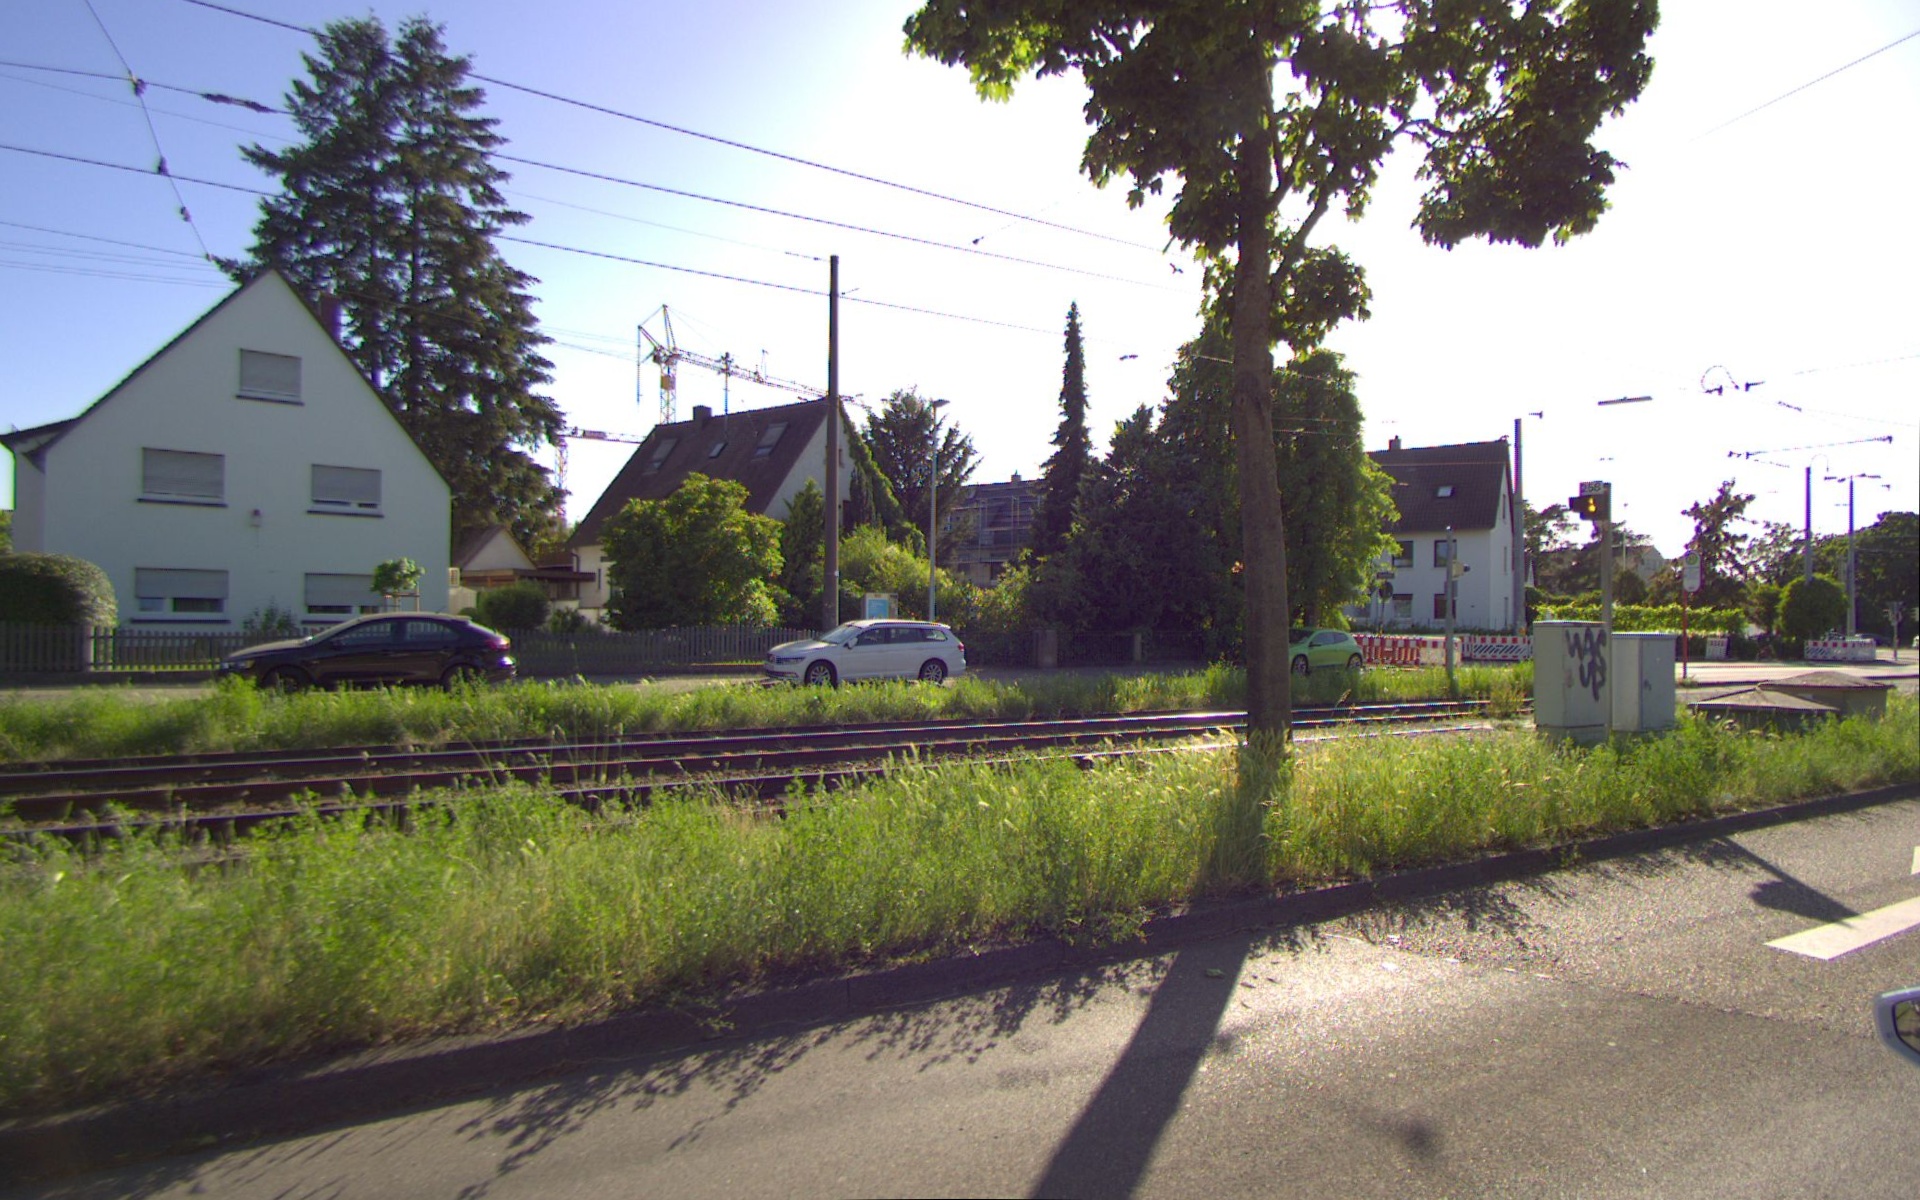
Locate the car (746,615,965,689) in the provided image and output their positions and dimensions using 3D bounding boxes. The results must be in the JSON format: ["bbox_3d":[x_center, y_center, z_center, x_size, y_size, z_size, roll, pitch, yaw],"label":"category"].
[{"bbox_3d":[-2.324,1.156,22.787,4.563,1.492,1.874,2,0,-32],"label":"car"}]

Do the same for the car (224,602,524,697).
[{"bbox_3d":[-10.292,0.863,17.951,4.389,1.485,1.898,2,0,-30],"label":"car"}]

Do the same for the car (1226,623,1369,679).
[{"bbox_3d":[10.291,1.529,30.553,4.023,1.521,1.983,2,0,-31],"label":"car"}]
